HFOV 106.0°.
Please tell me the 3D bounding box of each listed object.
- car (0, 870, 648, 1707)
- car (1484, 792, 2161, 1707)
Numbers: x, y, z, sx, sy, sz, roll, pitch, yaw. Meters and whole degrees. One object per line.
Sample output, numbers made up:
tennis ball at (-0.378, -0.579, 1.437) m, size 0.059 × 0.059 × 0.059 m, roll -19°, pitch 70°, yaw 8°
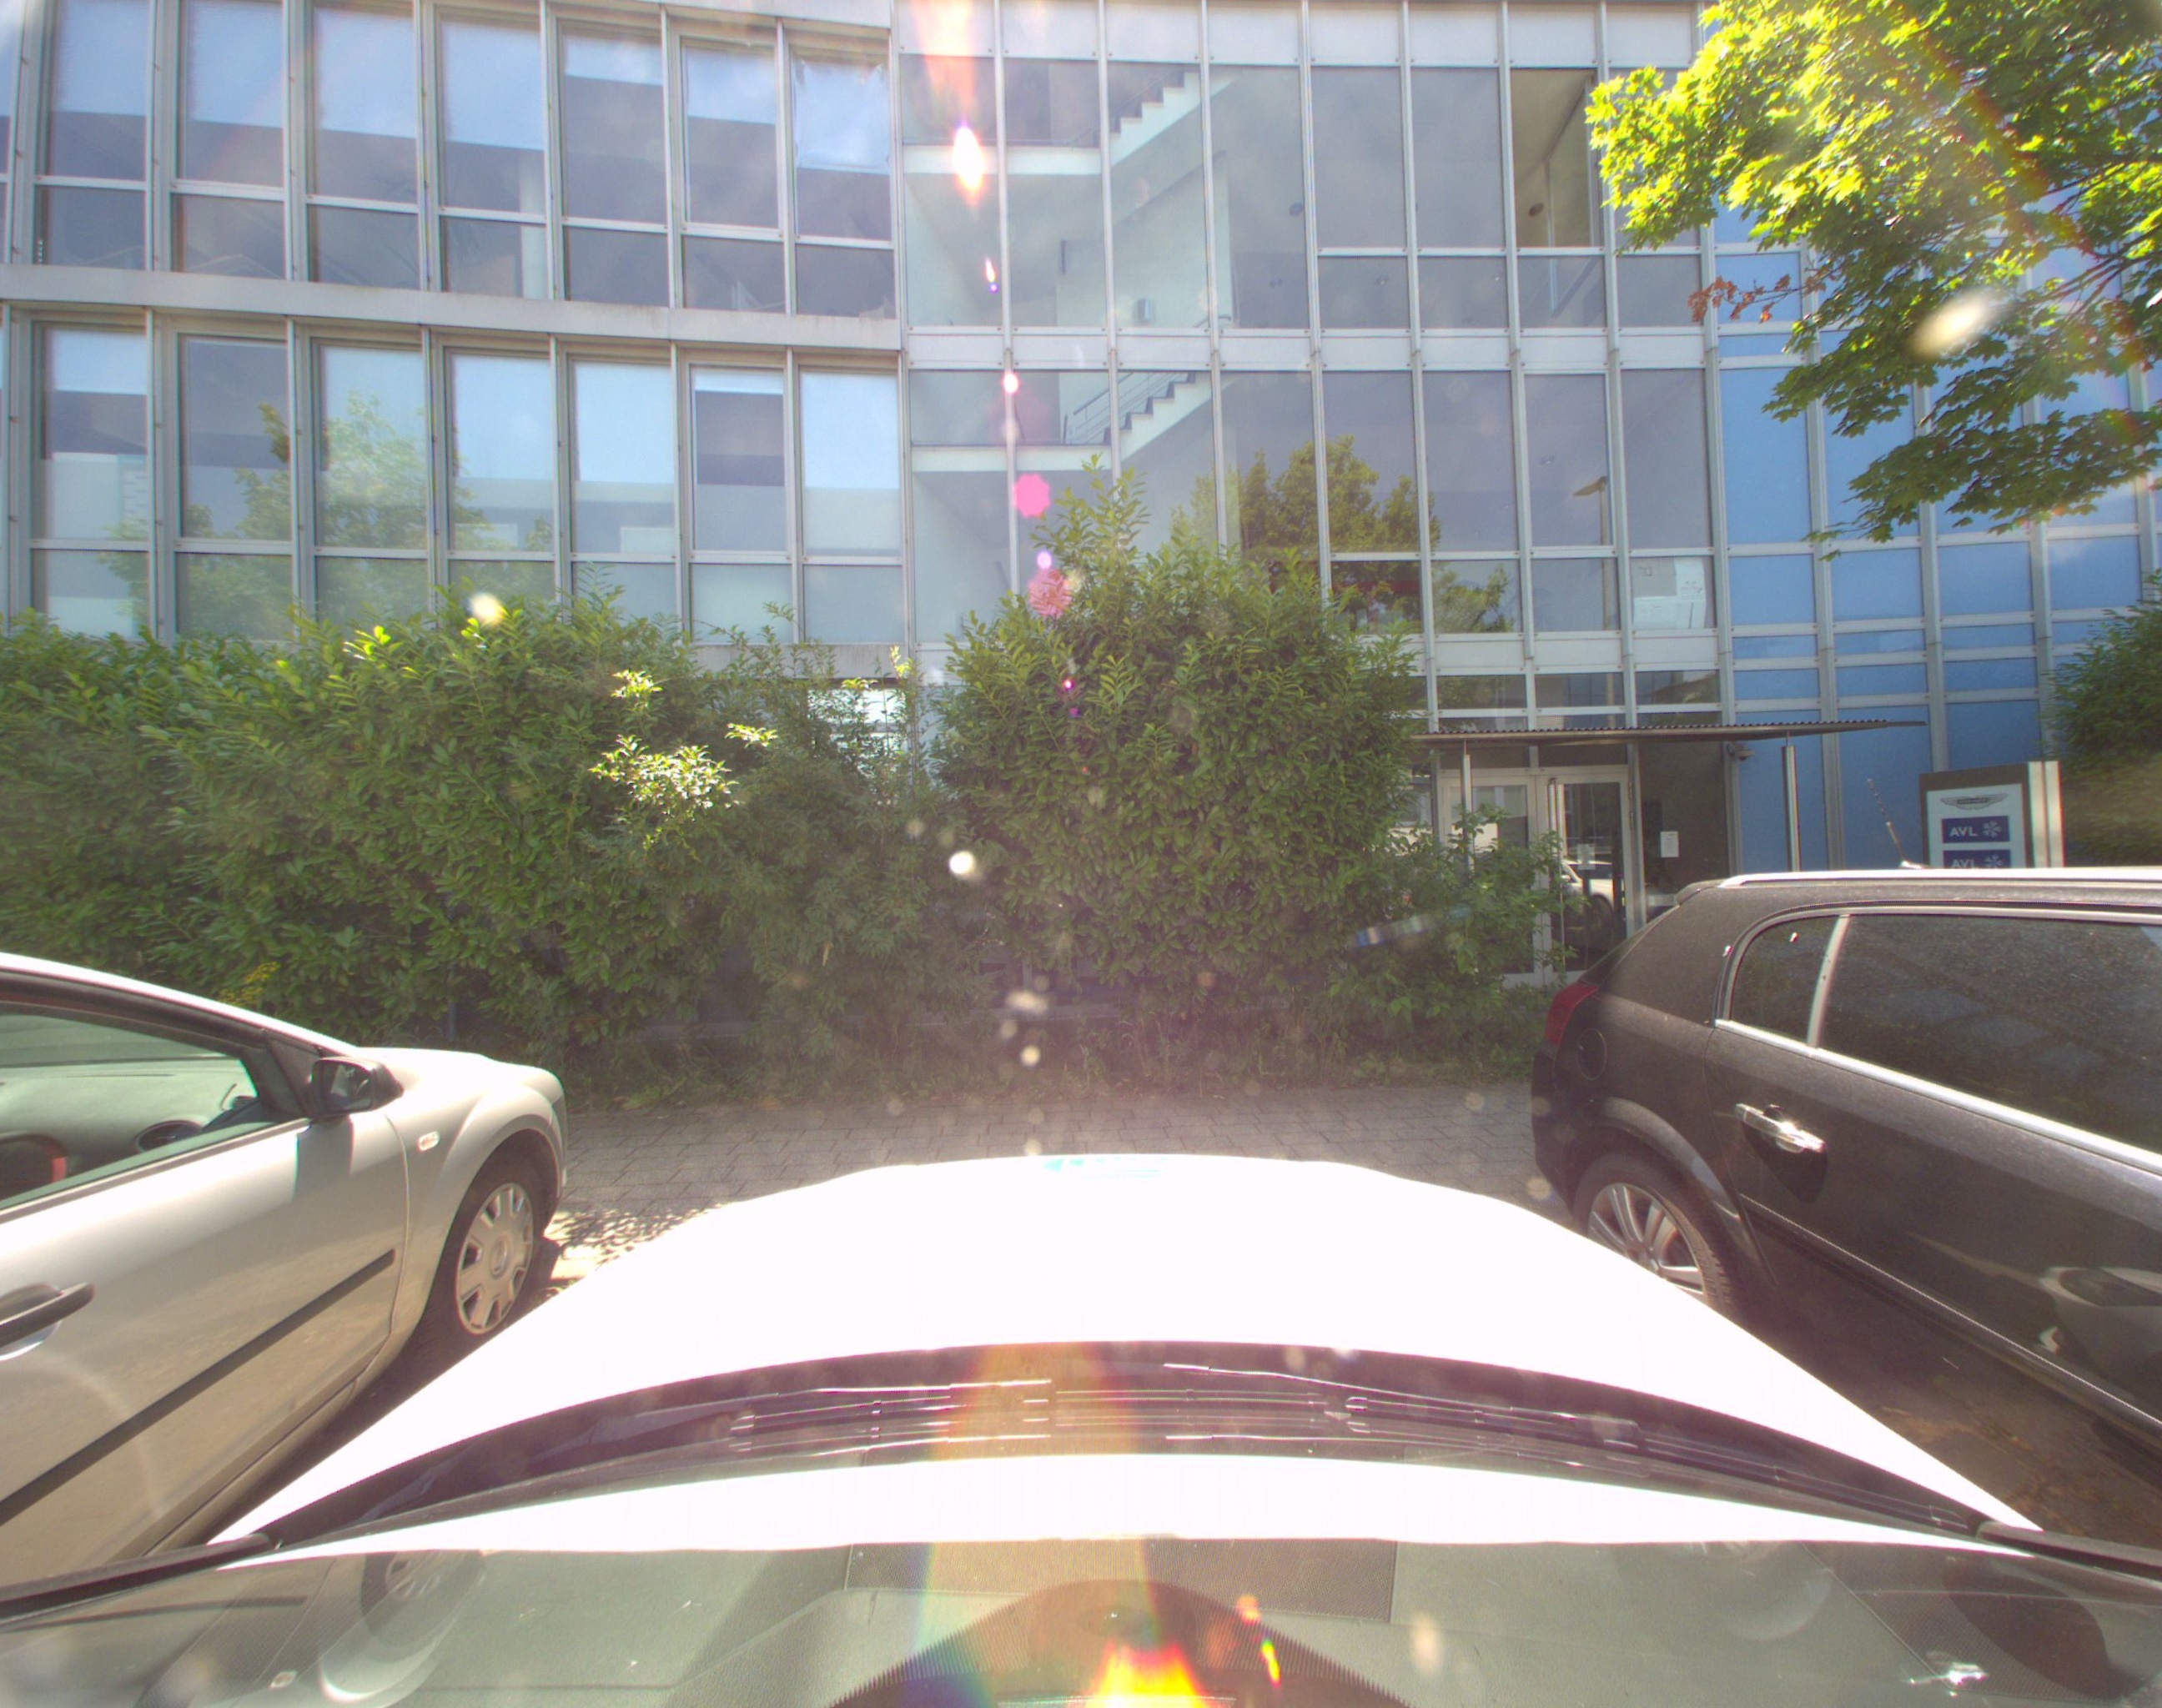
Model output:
car at (-2.397, 0.804, 1.028) m, size 1.717 × 1.479 × 4.339 m, roll -1°, pitch 0°, yaw -6°
car at (2.489, 0.666, 0.900) m, size 1.753 × 1.549 × 4.563 m, roll -1°, pitch 0°, yaw -1°
